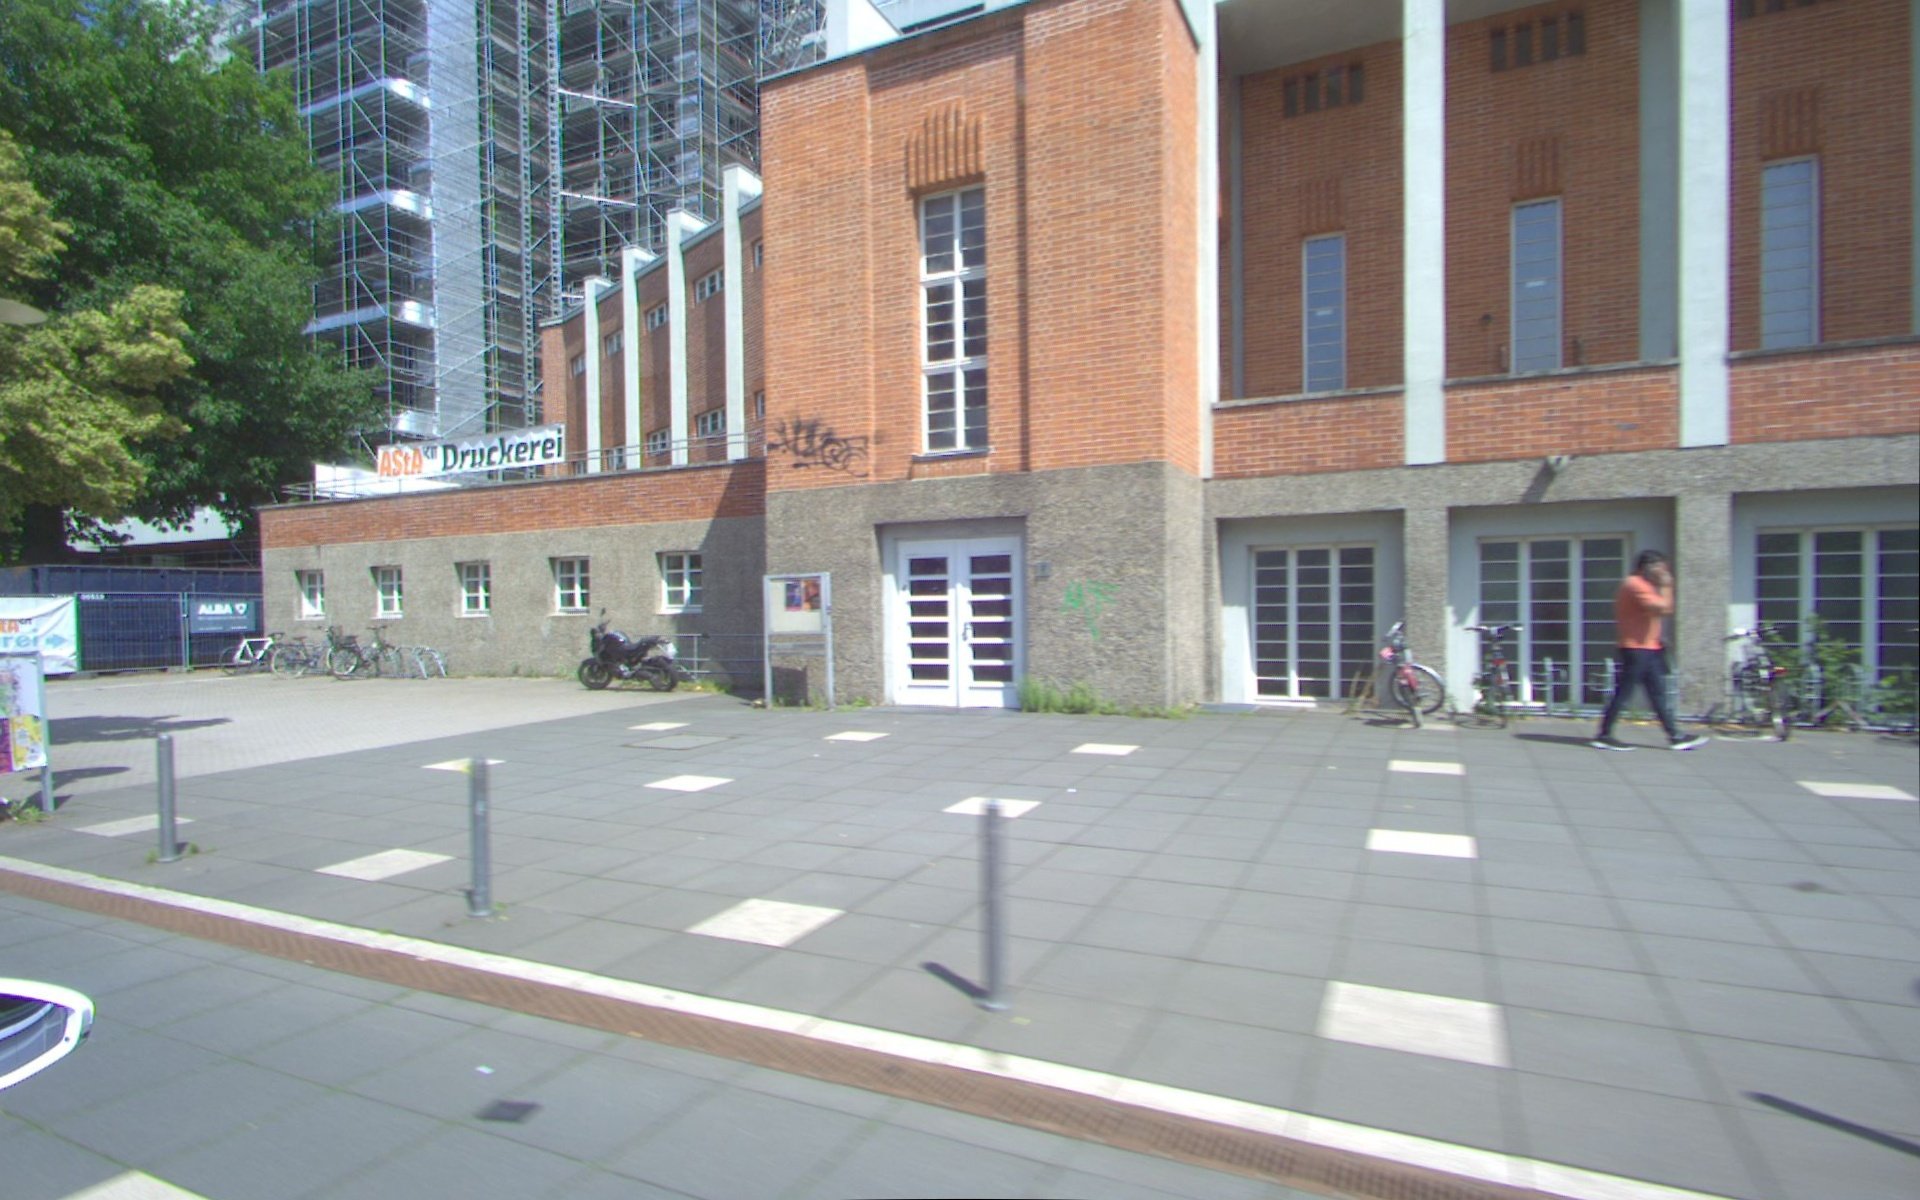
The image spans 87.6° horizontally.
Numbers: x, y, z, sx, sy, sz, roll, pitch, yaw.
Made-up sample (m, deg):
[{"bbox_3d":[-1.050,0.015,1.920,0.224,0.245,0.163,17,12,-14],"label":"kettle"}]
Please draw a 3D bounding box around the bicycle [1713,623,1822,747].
[{"bbox_3d":[8.185,0.815,10.210,0.428,1.125,1.747,0,0,24],"label":"bicycle"}]

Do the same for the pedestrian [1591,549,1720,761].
[{"bbox_3d":[6.413,0.494,9.285,0.892,1.858,0.662,0,0,27],"label":"pedestrian"}]

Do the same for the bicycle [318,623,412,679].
[{"bbox_3d":[-12.924,1.086,21.794,0.440,1.124,1.805,0,0,26],"label":"bicycle"}]

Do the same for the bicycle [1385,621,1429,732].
[{"bbox_3d":[5.170,0.835,11.587,0.428,1.165,1.753,0,0,24],"label":"bicycle"}]

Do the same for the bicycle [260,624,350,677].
[{"bbox_3d":[-14.773,1.117,22.624,0.440,1.124,1.701,0,0,26],"label":"bicycle"}]

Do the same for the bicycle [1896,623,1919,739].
[{"bbox_3d":[9.419,0.795,9.369,0.428,1.125,1.683,0,0,24],"label":"bicycle"}]

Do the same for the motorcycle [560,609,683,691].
[{"bbox_3d":[-5.840,0.842,17.242,2.185,1.341,0.695,-1,0,28],"label":"motorcycle"}]

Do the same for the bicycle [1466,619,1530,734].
[{"bbox_3d":[6.032,0.813,11.277,0.509,1.165,1.753,0,0,24],"label":"bicycle"}]

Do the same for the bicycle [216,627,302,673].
[{"bbox_3d":[-16.720,1.176,23.918,0.440,1.016,1.671,0,0,26],"label":"bicycle"}]
